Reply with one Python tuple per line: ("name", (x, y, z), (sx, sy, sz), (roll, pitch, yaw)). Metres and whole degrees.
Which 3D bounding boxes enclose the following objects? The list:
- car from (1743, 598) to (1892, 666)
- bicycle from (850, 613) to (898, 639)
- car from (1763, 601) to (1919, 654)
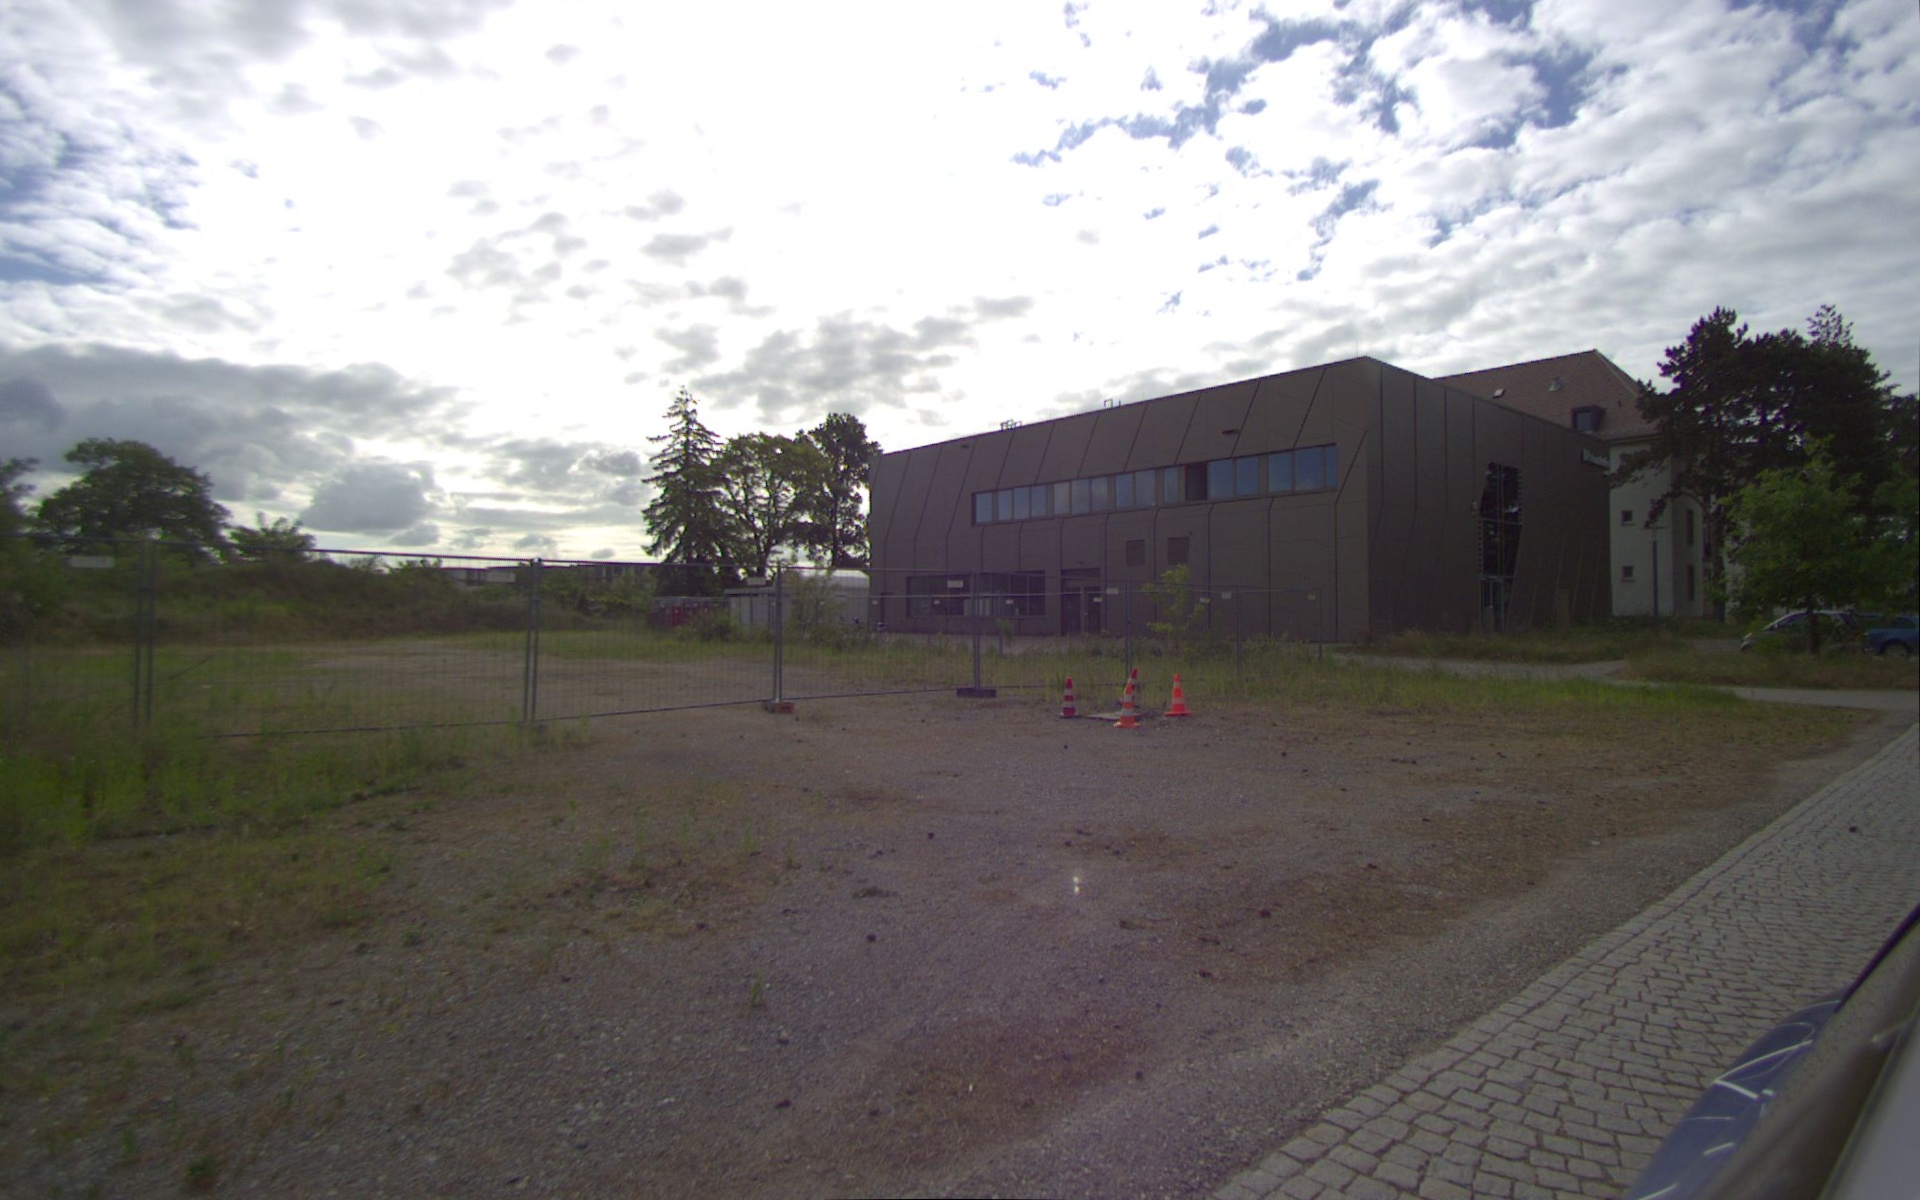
("car", (22.487, 0.801, 26.574), (1.653, 1.602, 2.746), (1, 1, -41))
("bicycle", (-3.694, 1.109, 43.565), (1.953, 1.038, 0.835), (-1, -1, -39))
("car", (27.905, 0.823, 31.334), (1.899, 1.468, 4.531), (0, 1, -43))
